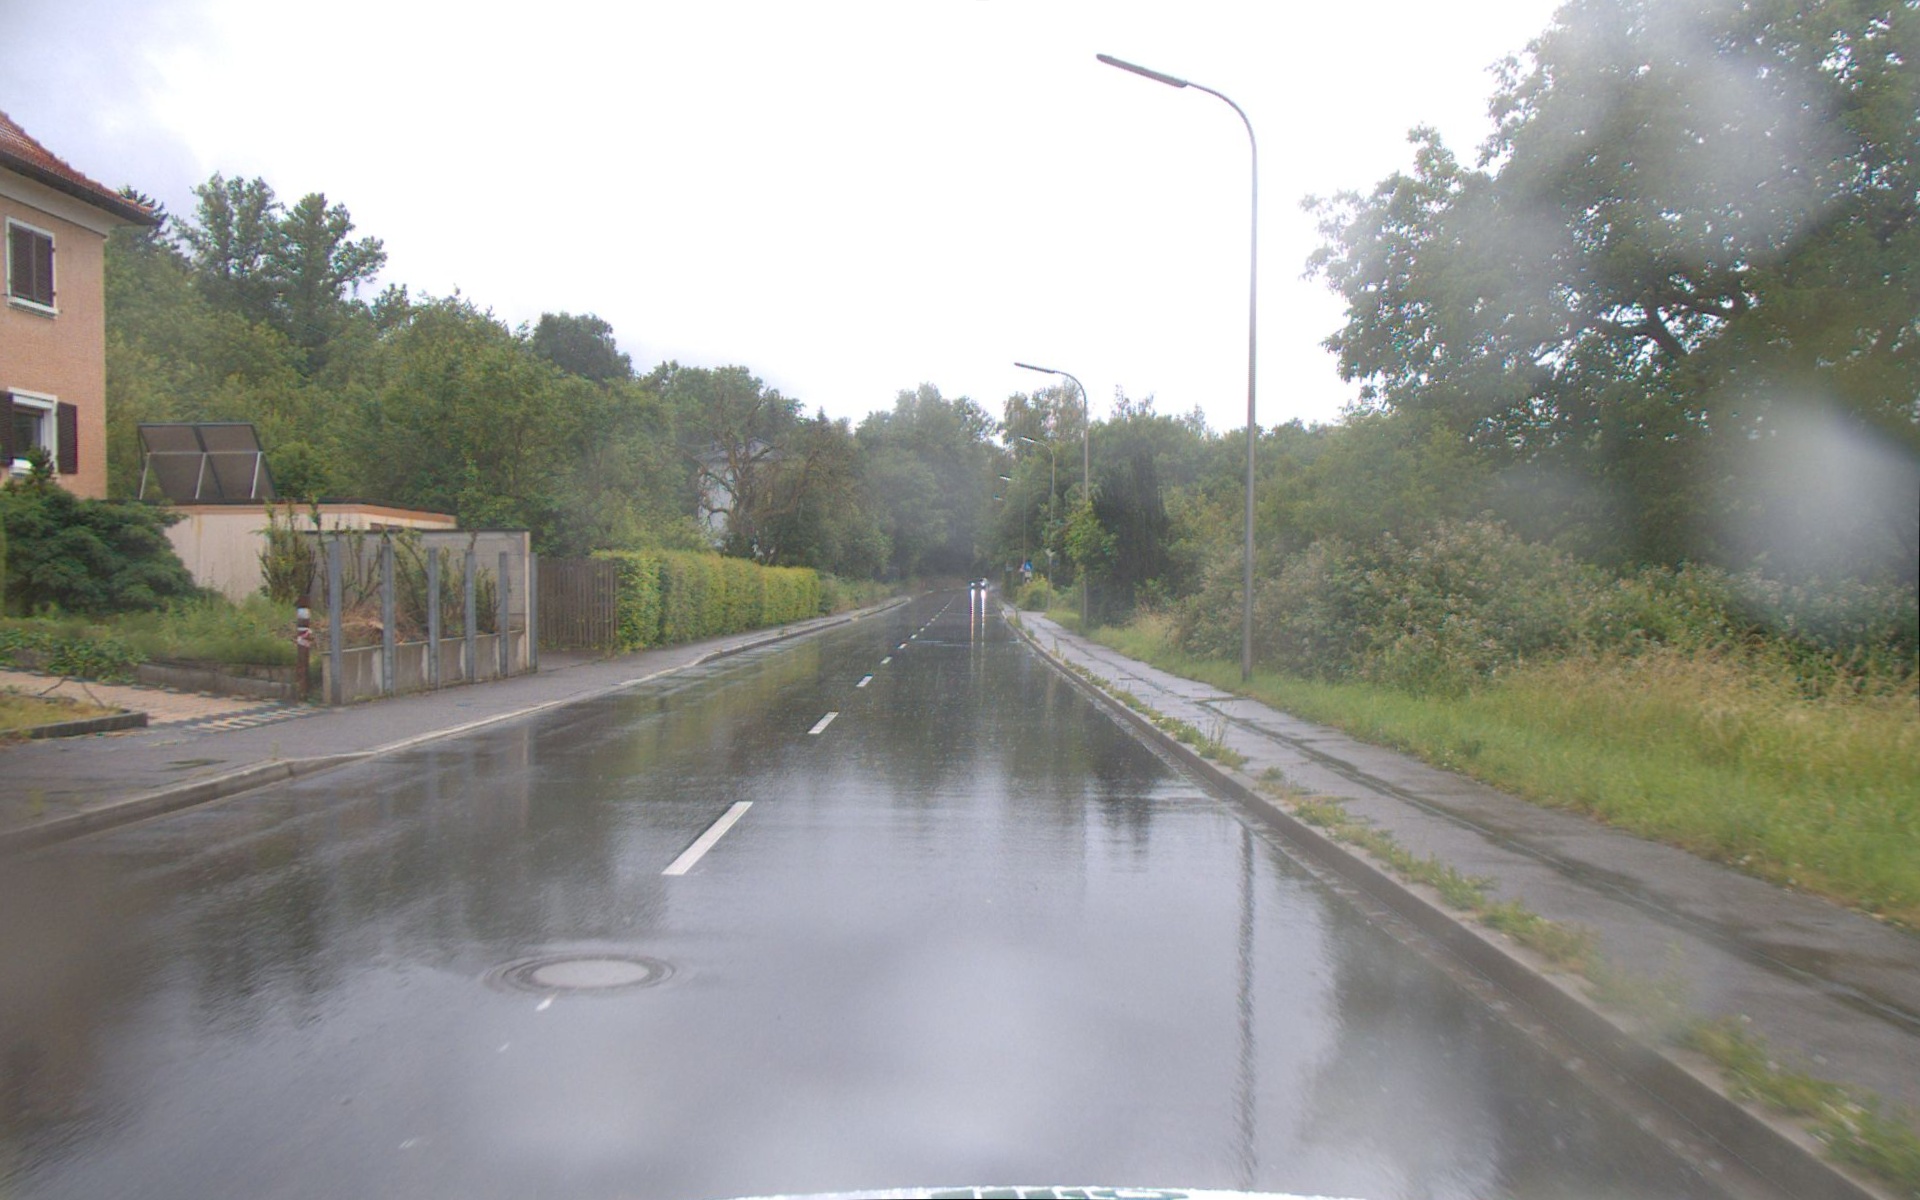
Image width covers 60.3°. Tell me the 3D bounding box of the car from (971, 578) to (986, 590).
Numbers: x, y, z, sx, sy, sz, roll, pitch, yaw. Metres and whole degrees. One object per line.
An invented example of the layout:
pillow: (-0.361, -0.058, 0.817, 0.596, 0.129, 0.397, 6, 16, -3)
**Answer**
car: (2.490, -2.078, 219.970, 1.952, 1.479, 4.428, 1, 1, 1)
